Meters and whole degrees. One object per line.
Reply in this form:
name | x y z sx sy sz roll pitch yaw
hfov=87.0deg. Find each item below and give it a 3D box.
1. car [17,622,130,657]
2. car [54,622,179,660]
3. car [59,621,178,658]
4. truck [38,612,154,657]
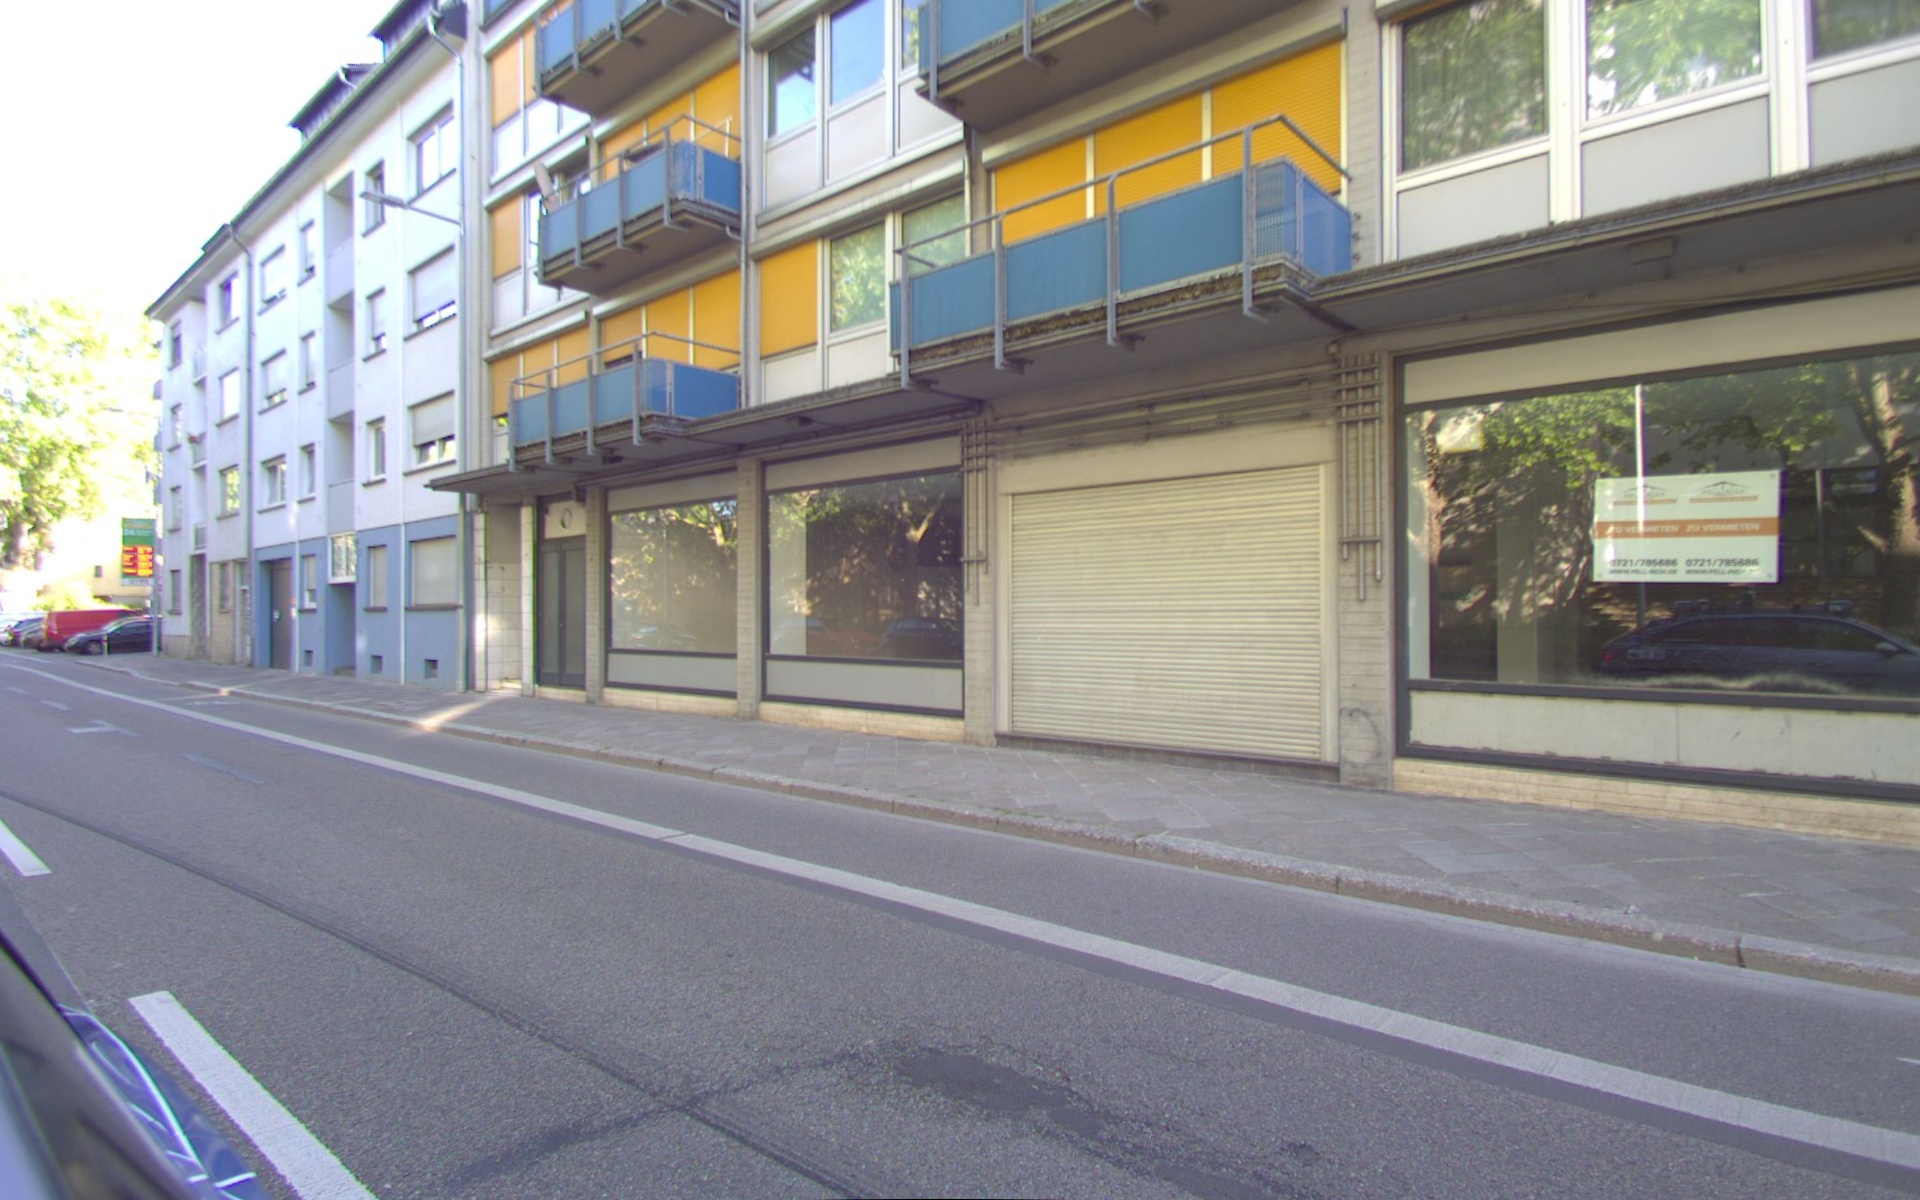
car | -42.910 1.902 49.038 1.761 1.514 3.944 -1 0 42
car | -36.628 1.761 44.012 1.761 1.468 3.944 -1 0 42
car | -38.109 1.757 45.900 1.761 1.514 3.944 -1 0 42
truck | -40.499 1.569 47.491 1.761 1.951 3.944 -1 0 42
